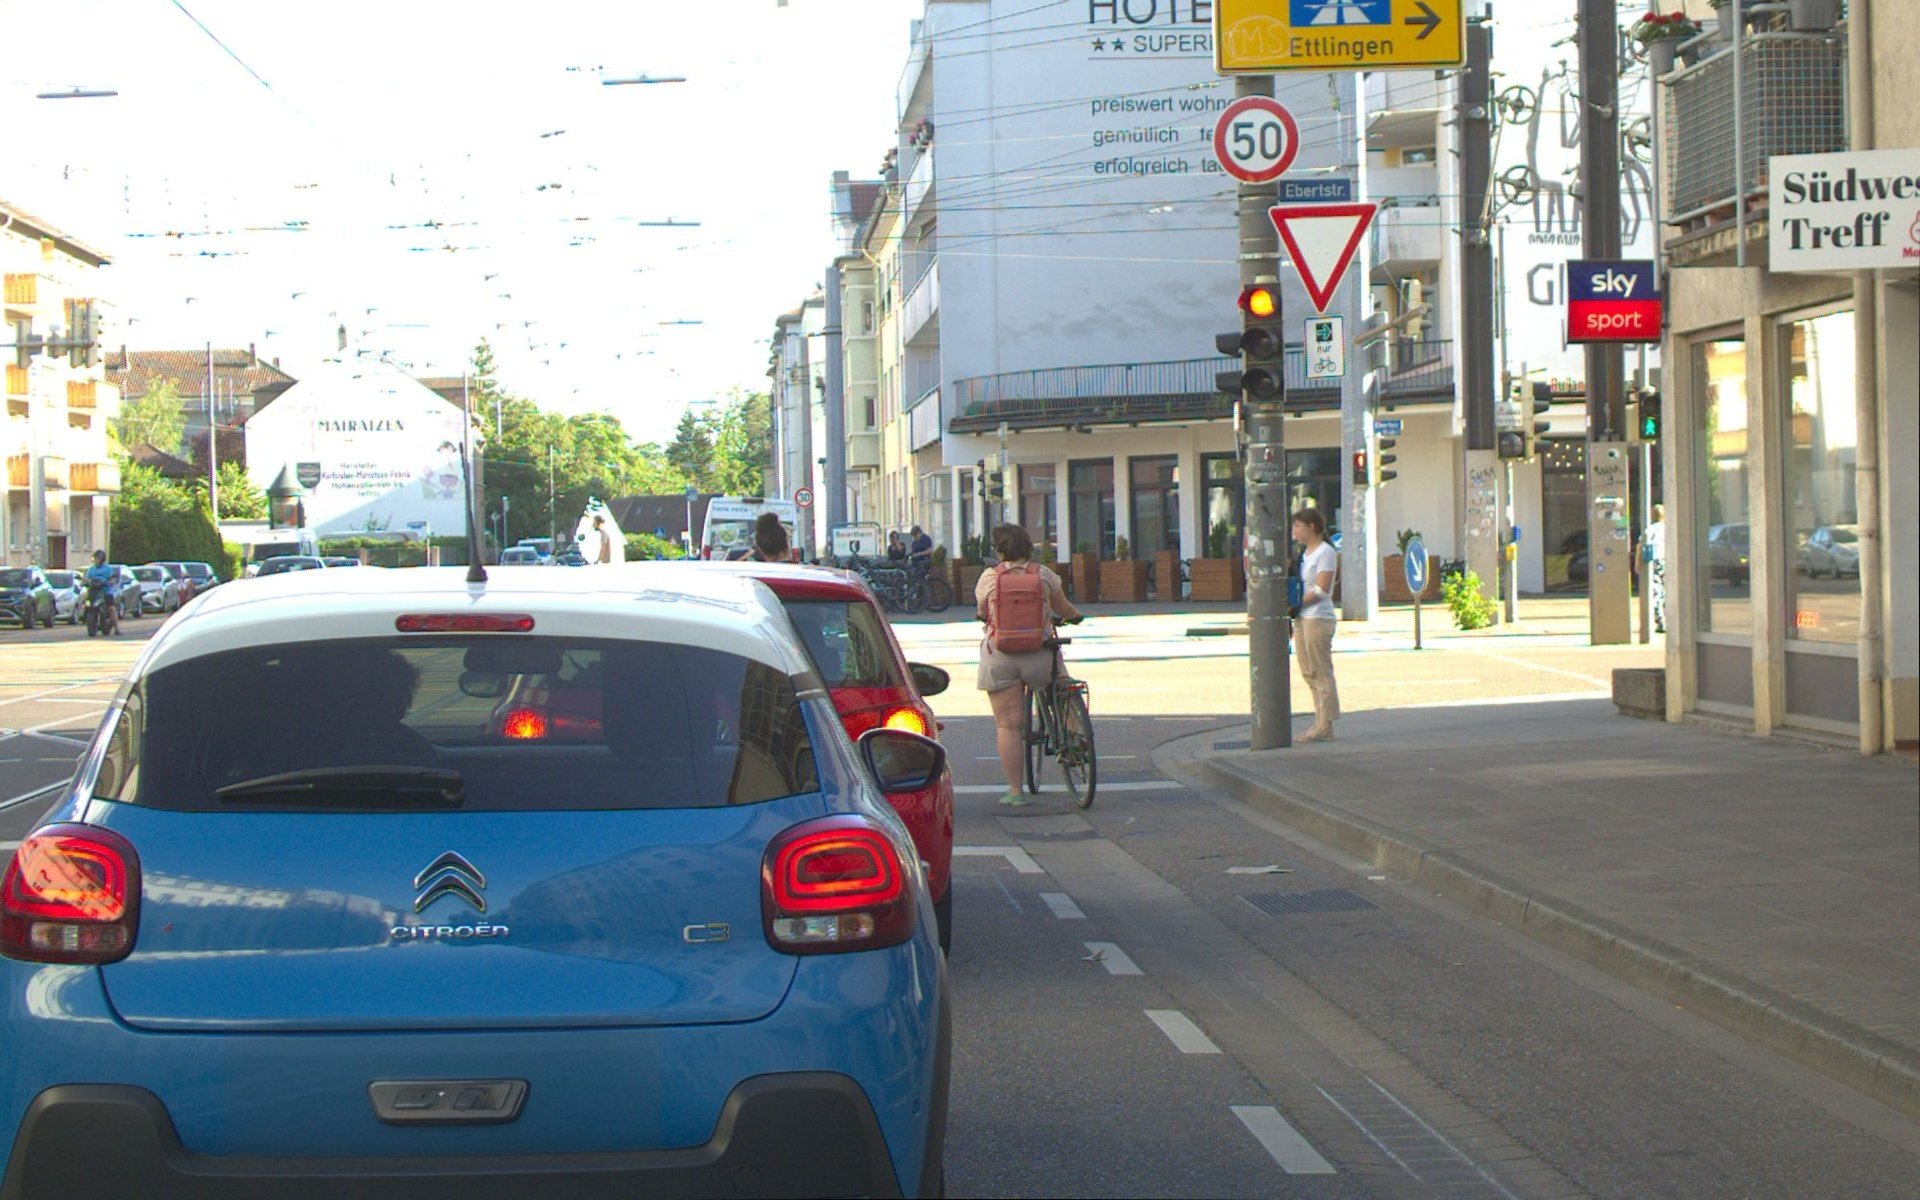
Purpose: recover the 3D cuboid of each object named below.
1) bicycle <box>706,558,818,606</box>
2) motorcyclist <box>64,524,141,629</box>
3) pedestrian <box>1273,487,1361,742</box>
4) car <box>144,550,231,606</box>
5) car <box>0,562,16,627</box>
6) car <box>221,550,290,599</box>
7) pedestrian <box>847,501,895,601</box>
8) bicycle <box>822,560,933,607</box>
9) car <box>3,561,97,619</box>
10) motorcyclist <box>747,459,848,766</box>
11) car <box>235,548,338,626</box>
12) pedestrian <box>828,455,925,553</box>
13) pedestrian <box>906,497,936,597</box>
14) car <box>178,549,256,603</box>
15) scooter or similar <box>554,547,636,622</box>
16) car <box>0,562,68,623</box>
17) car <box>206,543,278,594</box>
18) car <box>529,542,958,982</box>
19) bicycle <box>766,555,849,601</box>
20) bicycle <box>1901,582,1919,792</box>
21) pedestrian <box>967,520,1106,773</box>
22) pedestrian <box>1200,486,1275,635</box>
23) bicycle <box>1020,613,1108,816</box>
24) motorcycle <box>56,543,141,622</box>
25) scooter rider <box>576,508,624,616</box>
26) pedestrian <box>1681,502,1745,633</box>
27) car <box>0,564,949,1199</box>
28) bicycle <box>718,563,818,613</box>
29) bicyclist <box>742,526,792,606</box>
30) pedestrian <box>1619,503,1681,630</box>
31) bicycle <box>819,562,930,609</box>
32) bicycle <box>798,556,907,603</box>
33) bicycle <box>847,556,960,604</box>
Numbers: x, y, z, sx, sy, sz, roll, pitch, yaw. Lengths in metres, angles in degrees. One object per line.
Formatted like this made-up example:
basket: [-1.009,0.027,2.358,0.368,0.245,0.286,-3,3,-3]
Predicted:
bicycle: [-3.815,-0.345,66.218,2.132,0.898,0.367,1,0,-9]
motorcyclist: [-16.796,-0.466,67.369,1.185,2.007,1.276,-1,1,-3]
pedestrian: [2.527,0.097,24.353,0.517,1.777,0.595,1,0,-2]
car: [-23.876,-0.696,106.334,1.983,1.681,4.001,1,1,-3]
car: [-23.207,-0.138,79.322,1.787,1.506,4.150,1,1,-2]
car: [-24.813,-0.892,121.259,1.846,1.681,3.875,1,1,-4]
pedestrian: [-1.787,-0.987,69.126,0.630,2.007,0.724,1,0,-36]
bicycle: [-1.613,-0.322,67.141,2.132,0.898,0.367,1,0,-9]
car: [-24.350,-0.281,92.066,1.732,1.493,4.001,1,1,-5]
motorcyclist: [-0.922,0.068,19.620,0.526,1.710,0.717,1,0,-1]
car: [-14.935,-0.305,76.412,1.774,1.660,3.857,1,1,-4]
pedestrian: [-1.753,-2.028,73.531,1.993,2.007,4.000,1,1,-1]
pedestrian: [-0.795,-1.078,70.028,0.577,2.007,0.626,1,0,-3]
car: [-24.052,-0.783,111.443,1.882,1.681,4.001,1,1,-4]
scooter or similar: [-6.253,-0.264,58.986,1.350,1.264,0.443,-1,1,-2]
car: [-23.641,-0.206,86.059,1.785,1.493,4.001,1,1,-4]
car: [-24.345,-1.080,116.668,1.833,1.681,4.001,1,1,-4]
car: [-0.750,0.538,13.125,1.424,1.462,2.924,-1,0,-1]
bicycle: [-3.086,-0.439,69.393,1.785,0.898,0.366,1,1,34]
bicycle: [4.840,0.424,15.784,0.542,0.995,1.706,1,1,-1]
pedestrian: [0.443,0.267,20.218,0.777,1.455,0.682,1,0,-1]
pedestrian: [3.784,-0.540,46.908,0.926,2.007,0.759,1,0,-1]
bicycle: [0.610,0.656,20.527,0.427,1.119,1.998,1,1,-1]
motorcycle: [-16.798,-0.357,67.115,0.923,1.481,3.726,1,1,-3]
scooter rider: [-6.177,-0.648,58.975,0.722,1.826,0.717,-1,1,-1]
pedestrian: [9.664,-0.415,44.138,0.752,1.652,0.883,1,0,10]
car: [-0.874,0.656,7.177,1.654,1.439,3.523,1,1,-1]
bicycle: [-3.576,-0.219,64.022,1.855,0.900,0.349,1,0,21]
bicyclist: [-3.597,-0.631,64.026,0.746,1.472,0.562,1,0,22]
pedestrian: [8.776,-0.427,43.715,0.736,1.595,0.748,1,0,13]
bicycle: [-1.684,-0.287,67.550,2.132,0.898,0.367,1,0,-9]
bicycle: [-2.136,-0.402,68.320,2.132,0.898,0.367,1,0,-9]
bicycle: [-1.081,-0.388,65.951,2.132,0.898,0.367,1,0,-9]
